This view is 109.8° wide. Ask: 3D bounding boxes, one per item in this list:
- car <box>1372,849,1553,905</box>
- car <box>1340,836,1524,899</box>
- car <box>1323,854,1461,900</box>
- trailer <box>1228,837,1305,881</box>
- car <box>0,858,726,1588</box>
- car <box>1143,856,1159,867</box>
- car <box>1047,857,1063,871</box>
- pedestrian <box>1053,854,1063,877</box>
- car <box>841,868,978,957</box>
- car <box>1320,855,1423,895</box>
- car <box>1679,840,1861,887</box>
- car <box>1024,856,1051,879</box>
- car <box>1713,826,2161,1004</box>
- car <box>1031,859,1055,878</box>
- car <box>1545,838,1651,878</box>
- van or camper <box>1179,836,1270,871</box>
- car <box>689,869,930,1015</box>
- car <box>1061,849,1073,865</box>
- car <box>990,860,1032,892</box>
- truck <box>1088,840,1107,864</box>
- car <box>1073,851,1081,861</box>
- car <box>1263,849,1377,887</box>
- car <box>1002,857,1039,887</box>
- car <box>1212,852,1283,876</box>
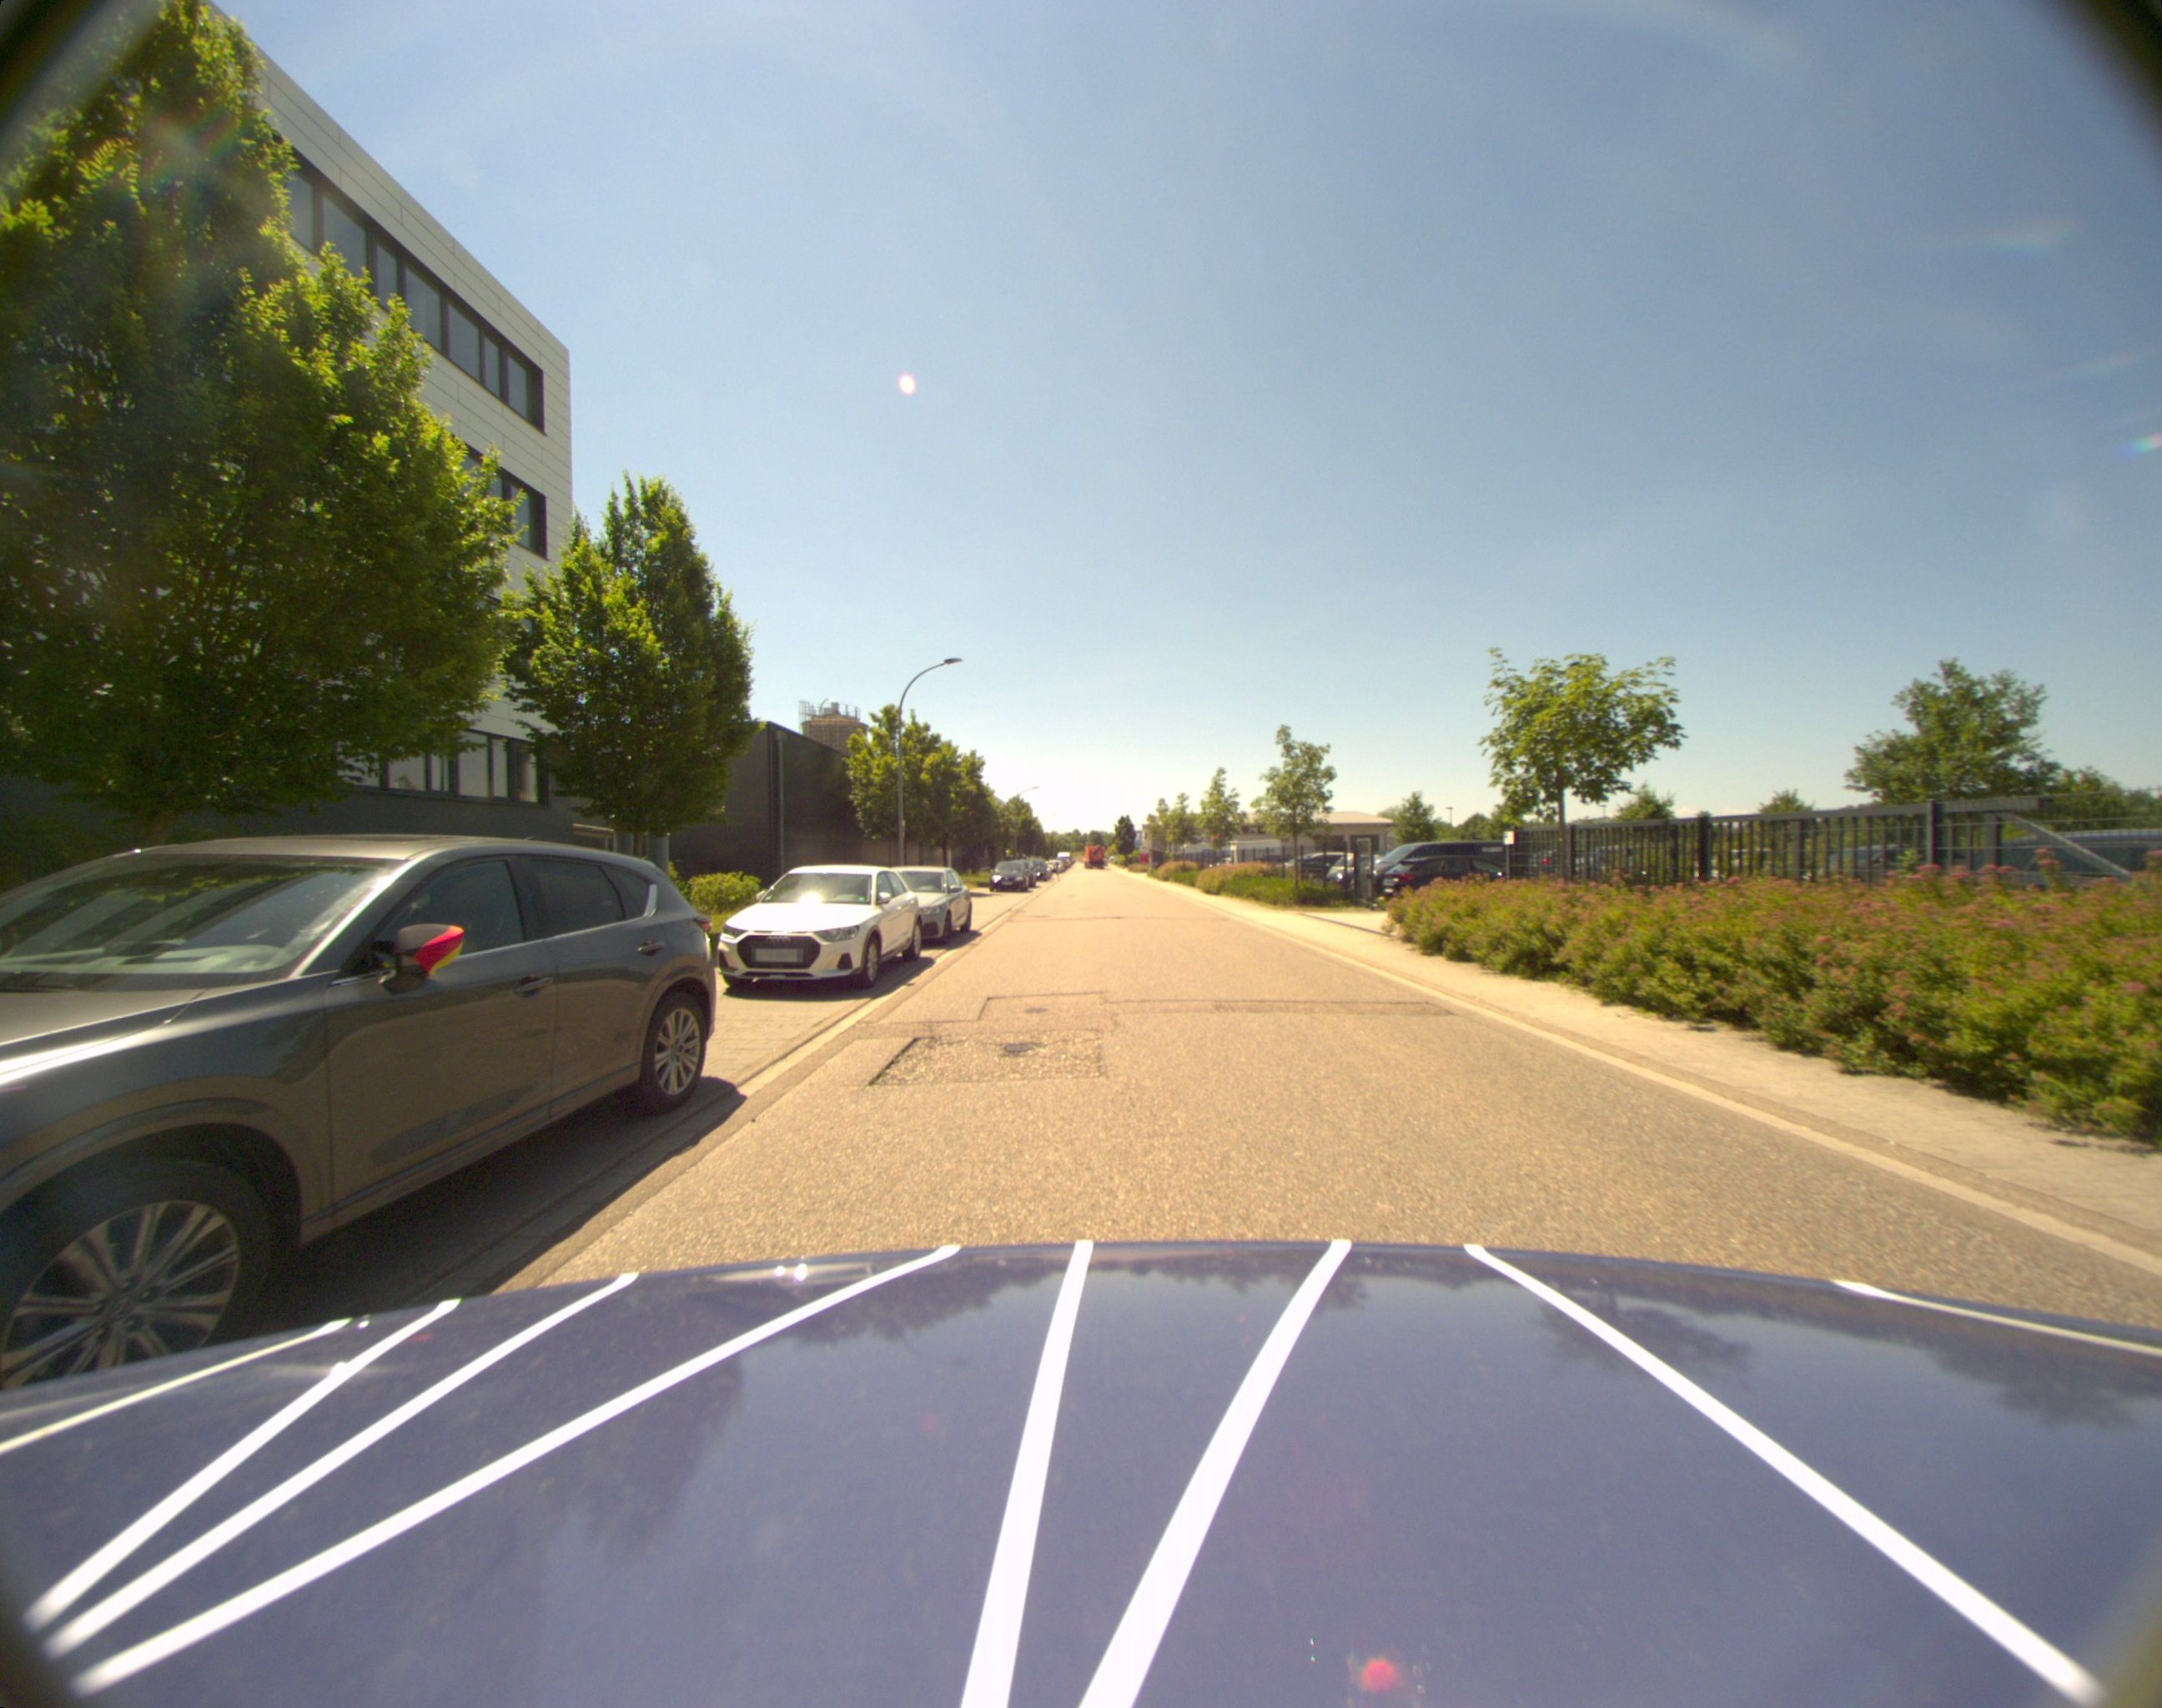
[{"bbox_3d":[11.082,0.645,22.294,4.316,1.438,1.964,-2,0,0],"label":"car"},{"bbox_3d":[11.336,0.417,24.773,5.072,1.840,1.964,-2,0,0],"label":"car"},{"bbox_3d":[11.247,0.820,27.689,4.204,1.489,1.904,-2,0,0],"label":"car"},{"bbox_3d":[10.805,0.266,44.461,3.998,2.346,1.726,-3,1,-3],"label":"trailer"},{"bbox_3d":[-3.344,0.860,3.014,1.762,1.653,4.363,1,0,1],"label":"car"},{"bbox_3d":[10.442,1.145,114.025,1.998,1.674,4.000,0,0,0],"label":"car"},{"bbox_3d":[-2.967,1.158,88.031,1.736,1.501,3.665,1,0,-1],"label":"car"},{"bbox_3d":[-1.852,0.935,60.371,0.704,1.798,0.721,-2,0,1],"label":"pedestrian"},{"bbox_3d":[-3.211,1.035,14.989,1.720,1.415,3.951,1,0,1],"label":"car"},{"bbox_3d":[11.612,0.815,30.519,3.379,1.489,1.904,-2,0,0],"label":"car"},{"bbox_3d":[21.953,0.287,24.335,4.117,1.343,1.881,-2,0,0],"label":"car"},{"bbox_3d":[-3.186,0.971,55.932,1.742,1.660,4.368,0,0,0],"label":"car"},{"bbox_3d":[10.483,0.577,9.415,1.998,1.713,4.092,-1,0,2],"label":"car"},{"bbox_3d":[-3.086,1.152,62.298,1.711,1.449,4.189,0,0,0],"label":"car"},{"bbox_3d":[21.921,0.150,32.270,3.480,1.575,1.477,-2,0,0],"label":"car"},{"bbox_3d":[11.382,-0.018,60.660,6.793,2.668,2.575,-1,0,1],"label":"van or camper"},{"bbox_3d":[-3.341,0.994,10.238,1.720,1.472,4.031,1,0,1],"label":"car"},{"bbox_3d":[-2.319,0.519,127.166,2.060,2.682,4.834,0,0,-1],"label":"car"},{"bbox_3d":[-3.398,1.060,37.710,1.696,1.467,4.268,1,0,0],"label":"car"},{"bbox_3d":[2.536,-0.292,117.616,2.606,3.524,10.500,0,0,-1],"label":"truck"},{"bbox_3d":[-1.004,0.460,204.982,2.060,2.682,4.834,0,0,-1],"label":"car"},{"bbox_3d":[11.163,0.632,35.745,4.744,1.619,2.000,-1,0,1],"label":"car"},{"bbox_3d":[-3.473,0.993,44.241,1.812,1.608,4.714,1,0,0],"label":"car"},{"bbox_3d":[10.961,0.645,50.089,4.218,1.443,1.777,-1,0,-3],"label":"car"}]
